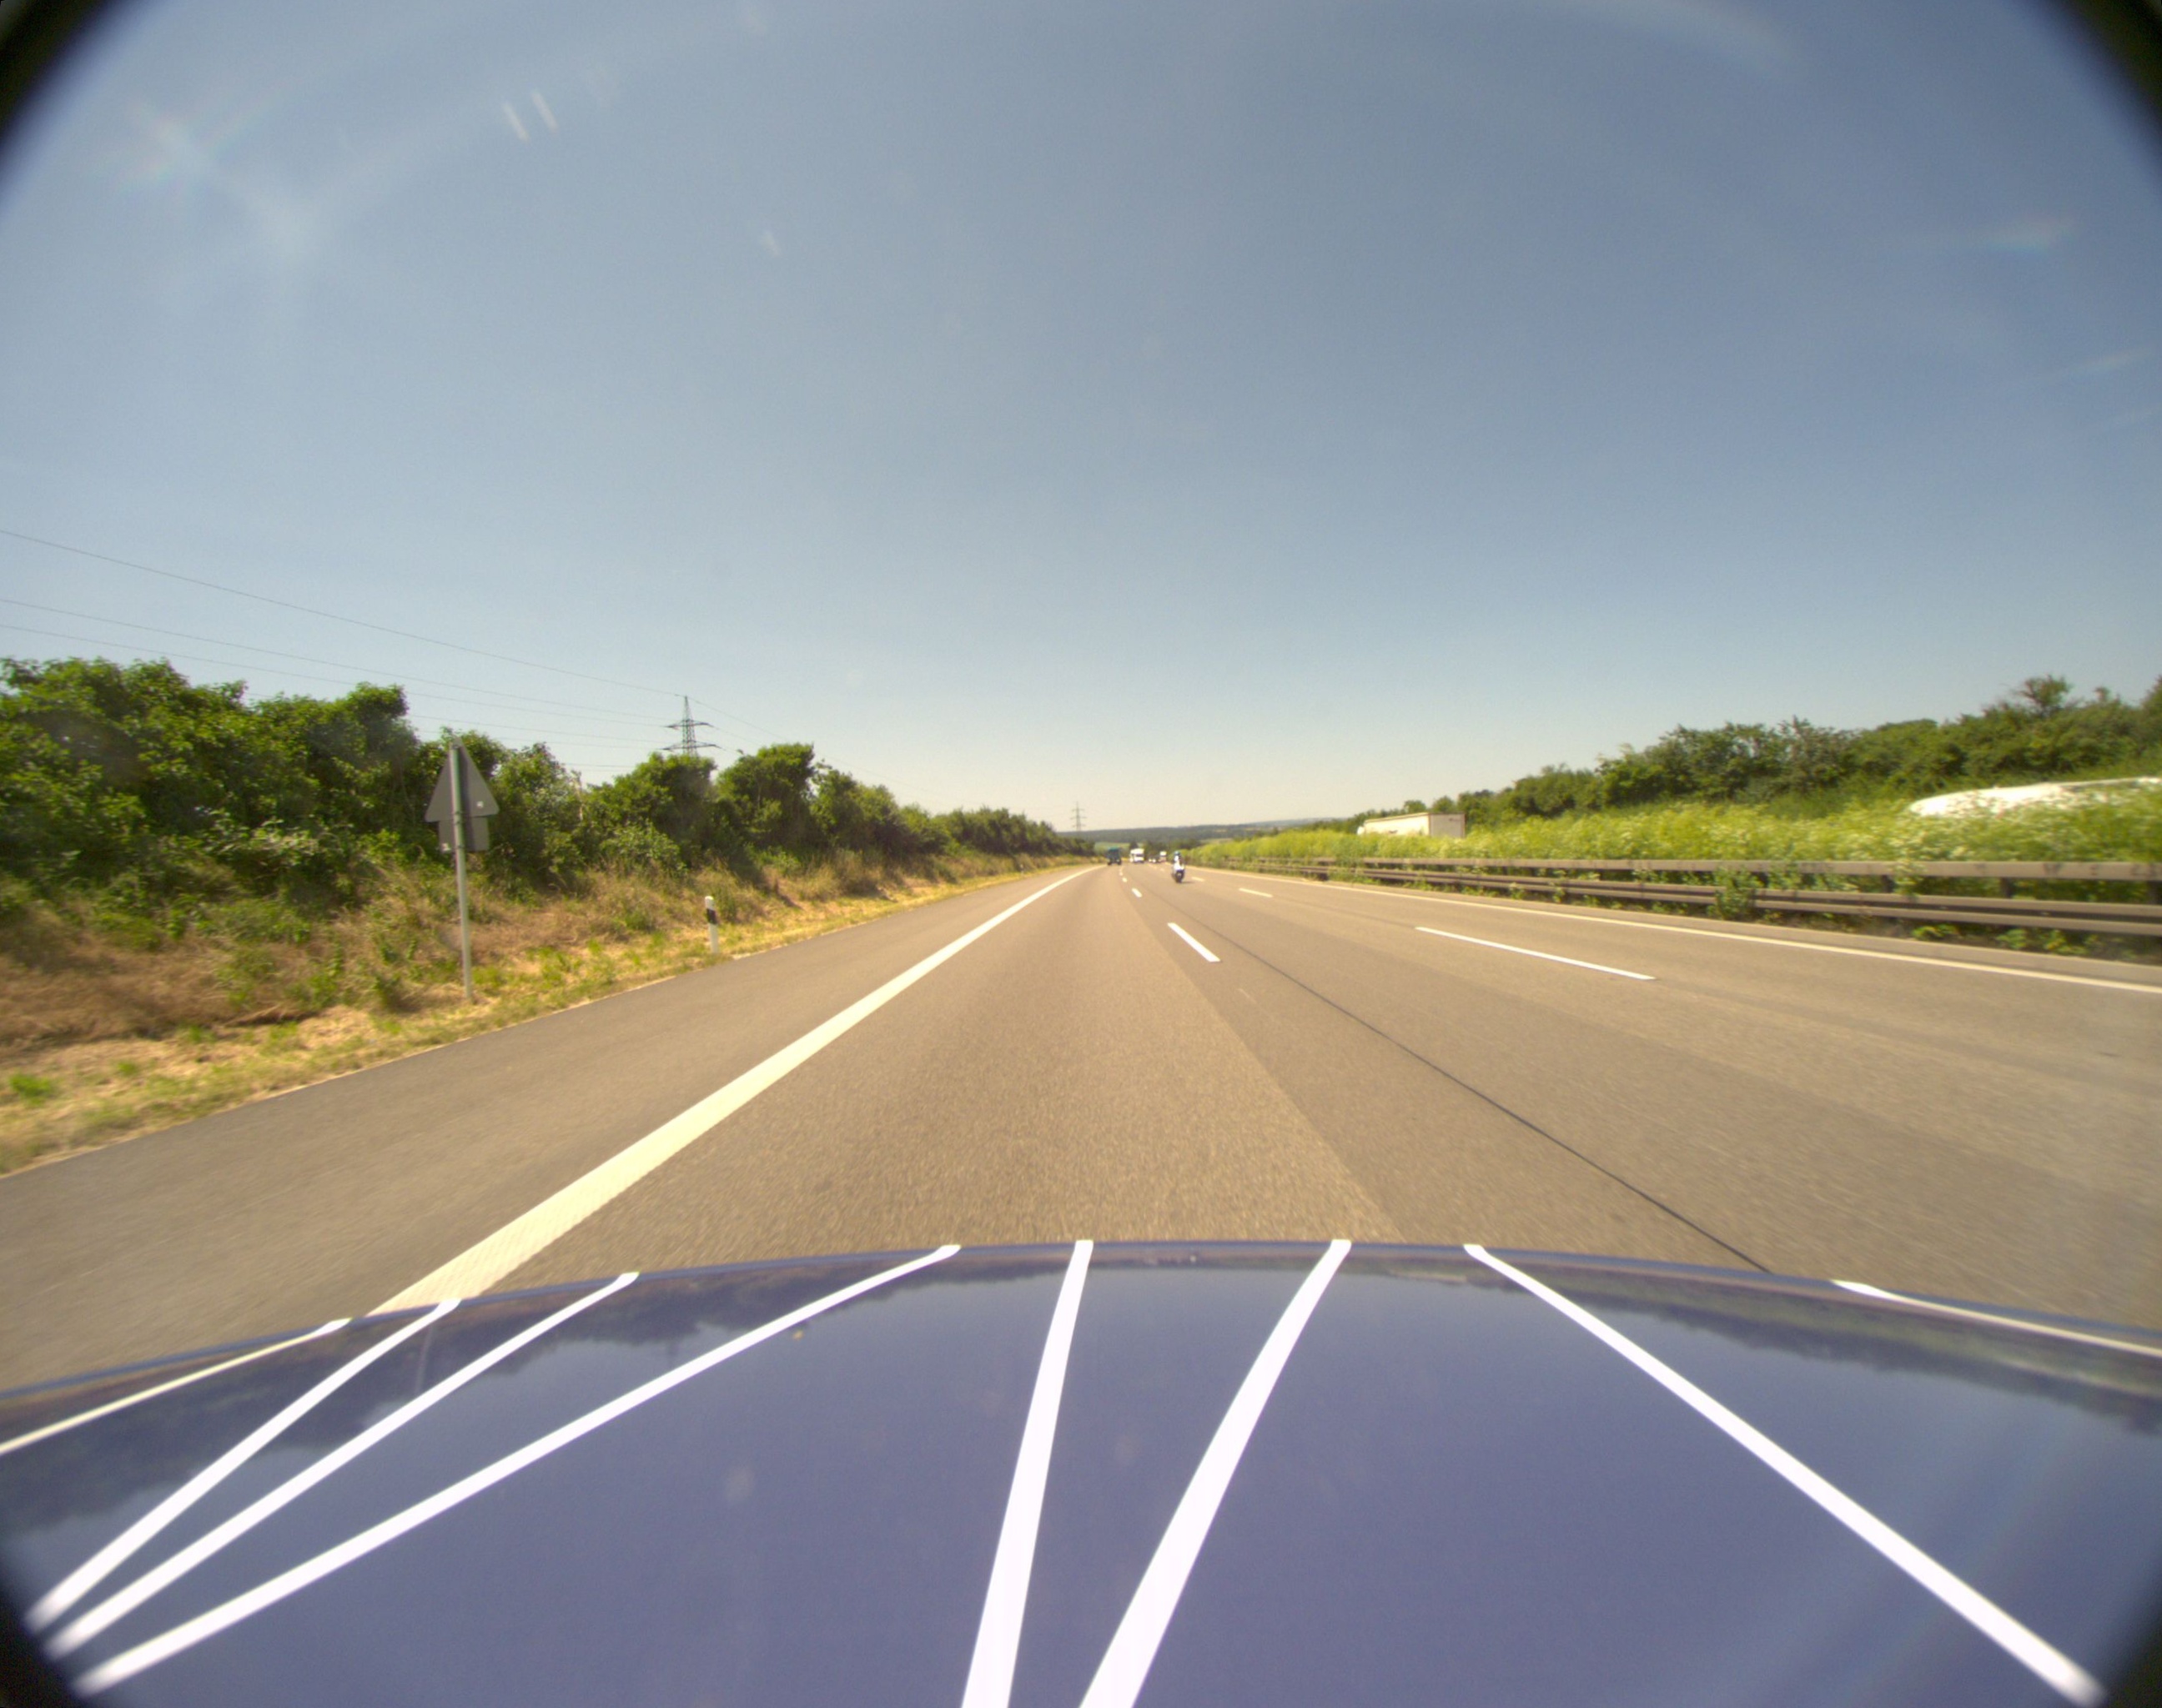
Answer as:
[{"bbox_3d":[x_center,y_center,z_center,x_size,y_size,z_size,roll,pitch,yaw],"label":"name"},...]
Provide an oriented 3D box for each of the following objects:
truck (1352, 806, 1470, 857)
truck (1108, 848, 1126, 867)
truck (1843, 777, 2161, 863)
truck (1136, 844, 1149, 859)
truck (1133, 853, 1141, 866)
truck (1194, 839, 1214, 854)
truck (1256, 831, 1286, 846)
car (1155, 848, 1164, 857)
[{"bbox_3d":[26.503,-1.558,62.527,2.812,3.527,16.839,0,0,2],"label":"truck"},{"bbox_3d":[7.333,0.727,153.286,2.871,3.701,12.769,-1,0,5],"label":"truck"},{"bbox_3d":[25.473,-0.794,21.240,1.998,2.002,6.399,-1,0,1],"label":"truck"},{"bbox_3d":[14.040,-0.606,173.941,2.512,3.268,8.109,-1,0,3],"label":"truck"},{"bbox_3d":[18.601,1.951,251.356,2.567,4.129,6.250,-1,0,4],"label":"truck"},{"bbox_3d":[34.980,-2.051,216.660,3.237,3.590,18.536,-4,-1,3],"label":"truck"},{"bbox_3d":[29.625,-2.420,118.903,2.659,2.002,9.859,-1,0,3],"label":"truck"},{"bbox_3d":[16.495,-0.303,159.979,1.704,1.958,4.002,-1,0,4],"label":"car"}]
